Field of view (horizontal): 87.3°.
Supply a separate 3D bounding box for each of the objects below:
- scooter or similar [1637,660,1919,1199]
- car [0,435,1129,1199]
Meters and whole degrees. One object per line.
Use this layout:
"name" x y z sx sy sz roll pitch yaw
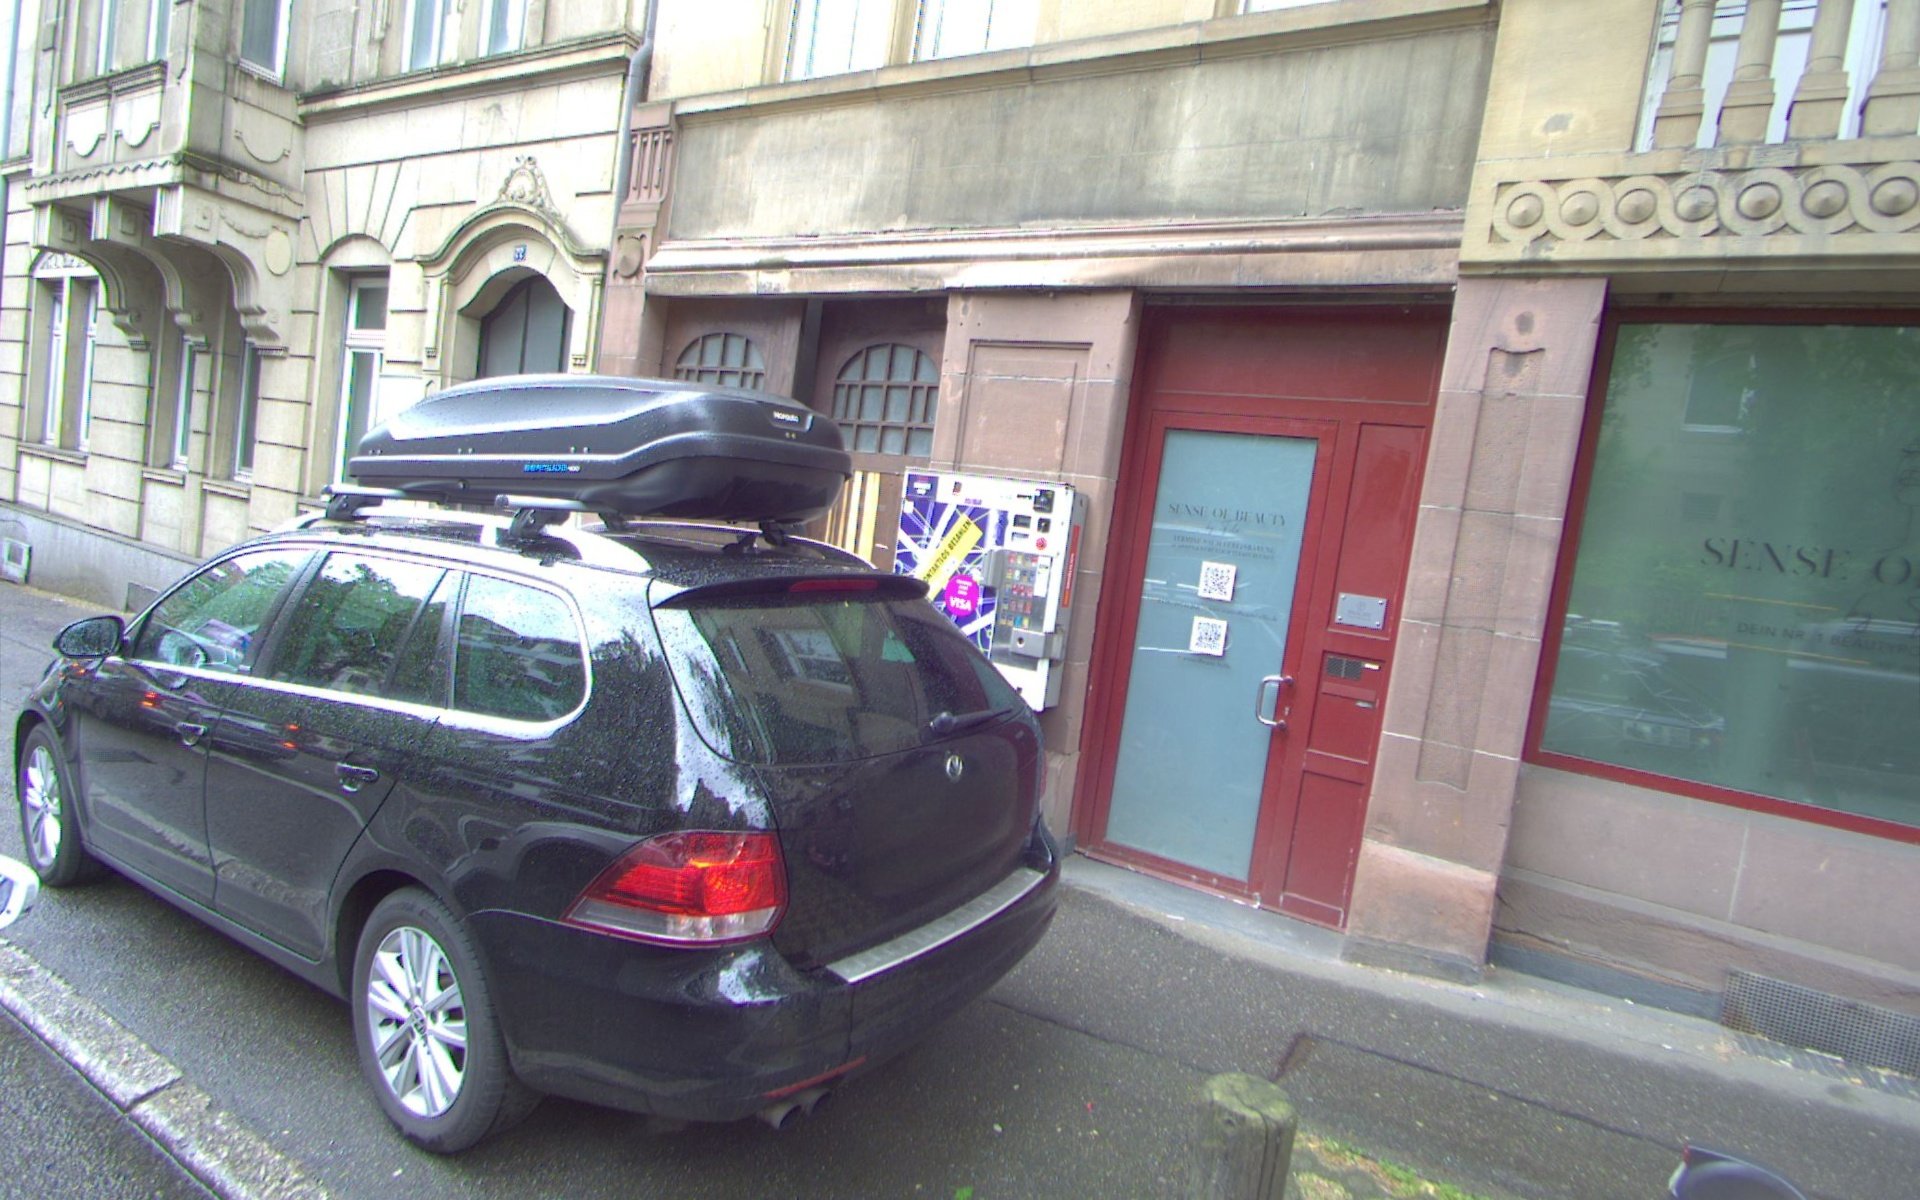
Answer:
"scooter or similar" 2.148 0.866 1.979 1.183 1.336 0.593 7 3 32
"car" -1.688 0.395 3.538 4.031 1.675 1.757 7 6 32
